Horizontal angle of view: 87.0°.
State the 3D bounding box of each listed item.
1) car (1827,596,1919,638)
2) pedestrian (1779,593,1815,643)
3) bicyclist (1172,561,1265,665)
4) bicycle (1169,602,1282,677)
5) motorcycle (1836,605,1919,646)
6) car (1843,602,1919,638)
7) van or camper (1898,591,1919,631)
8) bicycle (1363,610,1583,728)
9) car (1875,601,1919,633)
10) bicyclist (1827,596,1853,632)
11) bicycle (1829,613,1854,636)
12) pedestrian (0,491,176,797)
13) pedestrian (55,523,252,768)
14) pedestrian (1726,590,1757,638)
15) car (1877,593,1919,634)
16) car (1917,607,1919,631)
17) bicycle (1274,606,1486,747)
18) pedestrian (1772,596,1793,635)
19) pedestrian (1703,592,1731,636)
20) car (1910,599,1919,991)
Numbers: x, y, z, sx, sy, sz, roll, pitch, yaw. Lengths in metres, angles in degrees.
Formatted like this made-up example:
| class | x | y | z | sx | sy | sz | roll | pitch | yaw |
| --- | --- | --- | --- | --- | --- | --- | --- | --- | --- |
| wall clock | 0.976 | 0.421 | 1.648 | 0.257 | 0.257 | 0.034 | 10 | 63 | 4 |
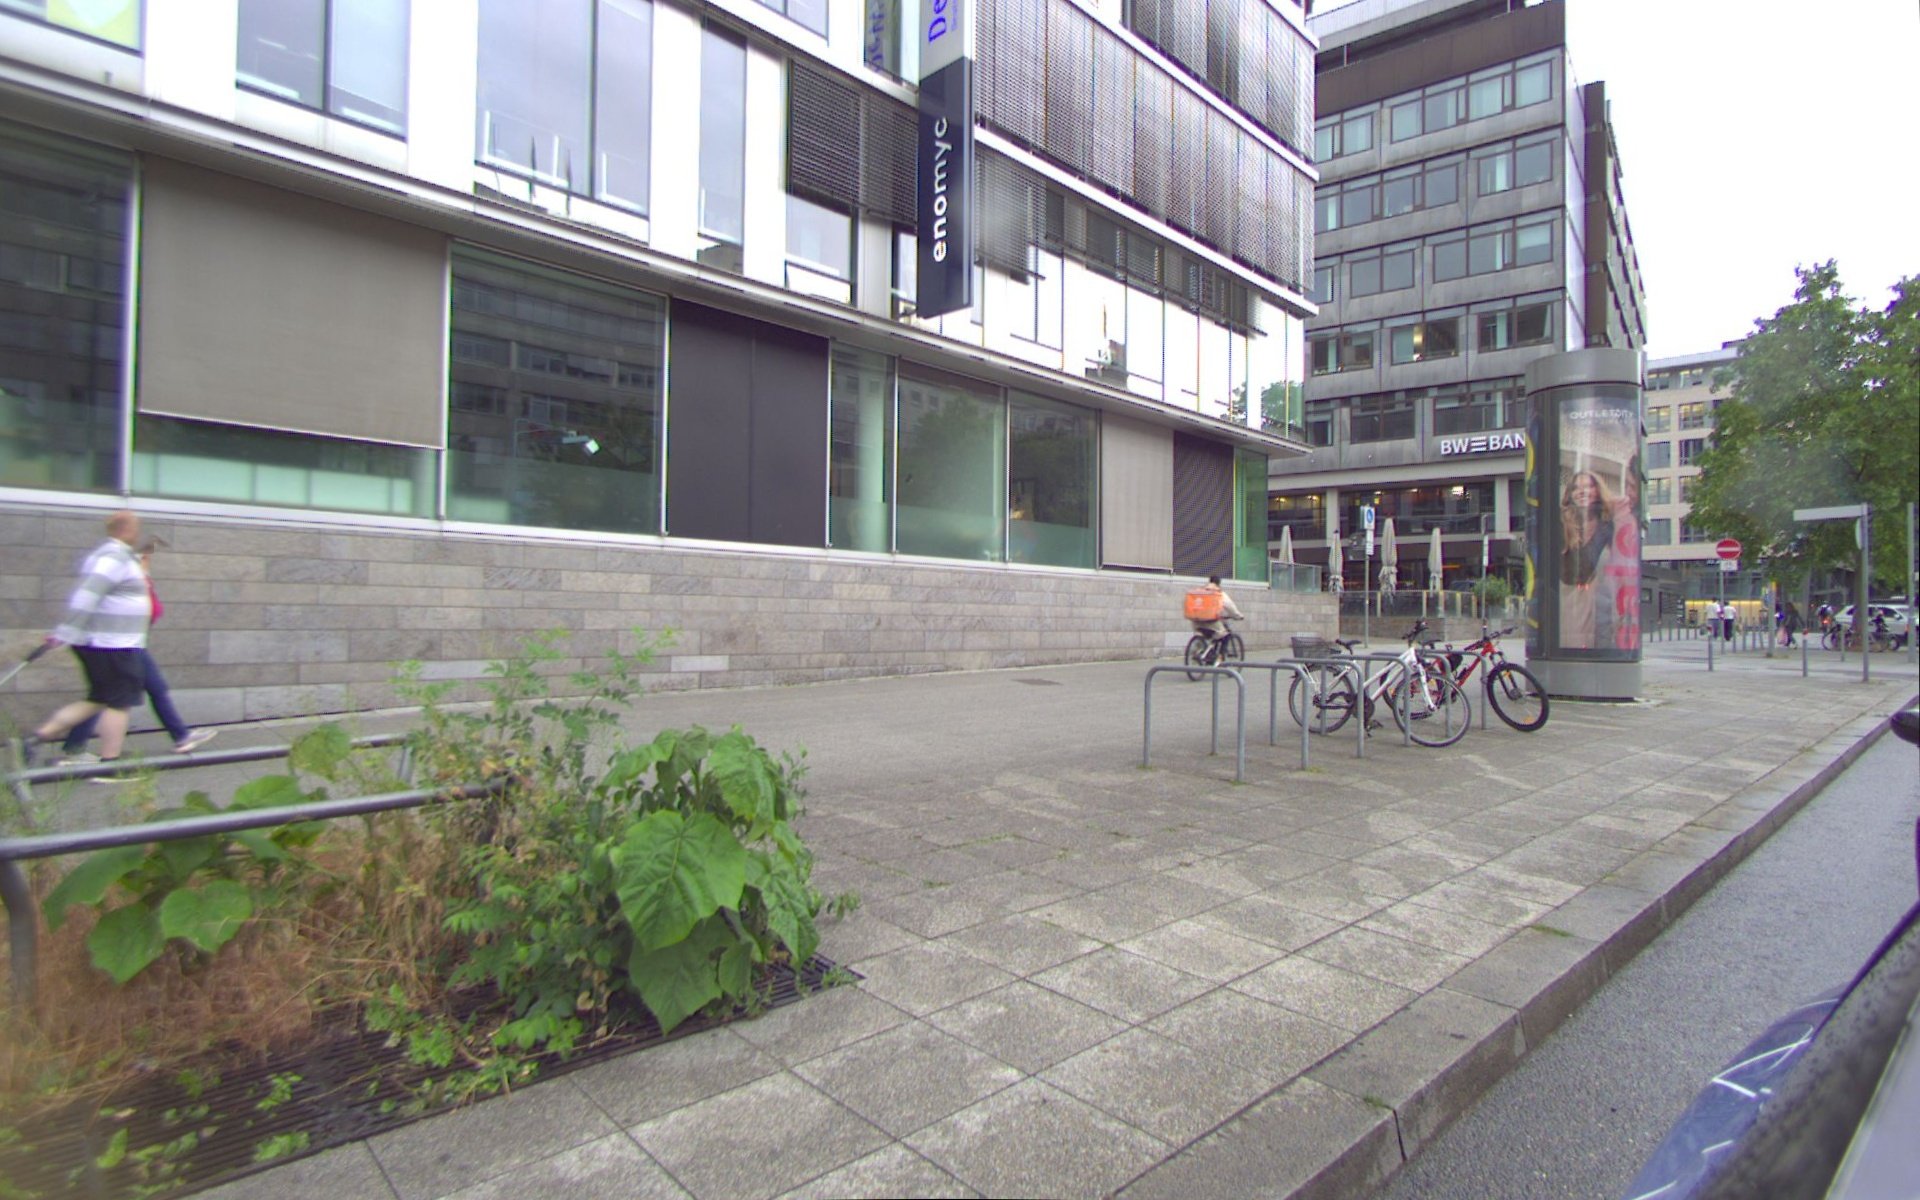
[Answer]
| class | x | y | z | sx | sy | sz | roll | pitch | yaw |
| --- | --- | --- | --- | --- | --- | --- | --- | --- | --- |
| car | 38.722 | 0.684 | 41.359 | 1.876 | 1.671 | 4.812 | 0 | -1 | -11 |
| pedestrian | 28.641 | 0.614 | 34.639 | 0.709 | 1.707 | 0.528 | 0 | -2 | 5 |
| bicyclist | 4.181 | 0.219 | 16.364 | 1.010 | 1.603 | 1.119 | -4 | -3 | 40 |
| bicycle | 4.364 | 0.606 | 16.537 | 1.007 | 1.128 | 2.036 | 0 | 0 | 41 |
| motorcycle | 31.782 | 0.863 | 35.028 | 0.664 | 1.375 | 2.090 | 1 | -2 | -34 |
| car | 41.080 | 0.855 | 43.386 | 1.877 | 1.493 | 4.729 | 0 | -1 | -9 |
| van or camper | 61.336 | 0.633 | 61.419 | 2.267 | 2.479 | 6.275 | 0 | -1 | -11 |
| bicycle | 5.505 | 0.684 | 10.974 | 0.793 | 1.118 | 1.989 | 1 | 0 | -37 |
| car | 46.780 | 0.805 | 48.209 | 1.876 | 1.557 | 4.399 | 0 | -1 | -14 |
| bicyclist | 45.894 | 0.725 | 52.769 | 1.062 | 1.772 | 0.810 | -1 | -4 | -44 |
| bicycle | 45.947 | 1.287 | 52.763 | 1.945 | 1.154 | 0.775 | 1 | -5 | -45 |
| pedestrian | -5.790 | 0.243 | 6.532 | 0.900 | 1.814 | 1.030 | 2 | 1 | 44 |
| pedestrian | -6.138 | 0.307 | 7.720 | 0.718 | 1.711 | 1.082 | 2 | 1 | 44 |
| pedestrian | 34.116 | 0.613 | 44.189 | 0.739 | 2.065 | 0.852 | 1 | -2 | -35 |
| car | 48.789 | 0.659 | 50.219 | 1.882 | 2.018 | 4.525 | 0 | -1 | -12 |
| car | 58.724 | 1.075 | 58.919 | 1.673 | 1.442 | 4.068 | 0 | -1 | -12 |
| bicycle | 4.045 | 0.684 | 9.882 | 0.648 | 1.212 | 1.841 | 1 | 0 | -37 |
| pedestrian | 40.233 | 0.769 | 49.504 | 0.719 | 1.908 | 0.646 | -2 | -2 | 43 |
| pedestrian | 33.629 | 0.622 | 44.933 | 0.883 | 1.893 | 0.802 | 1 | -2 | -42 |
| car | 5.066 | 0.713 | 4.030 | 3.770 | 1.435 | 1.631 | 0 | -1 | -43 |
